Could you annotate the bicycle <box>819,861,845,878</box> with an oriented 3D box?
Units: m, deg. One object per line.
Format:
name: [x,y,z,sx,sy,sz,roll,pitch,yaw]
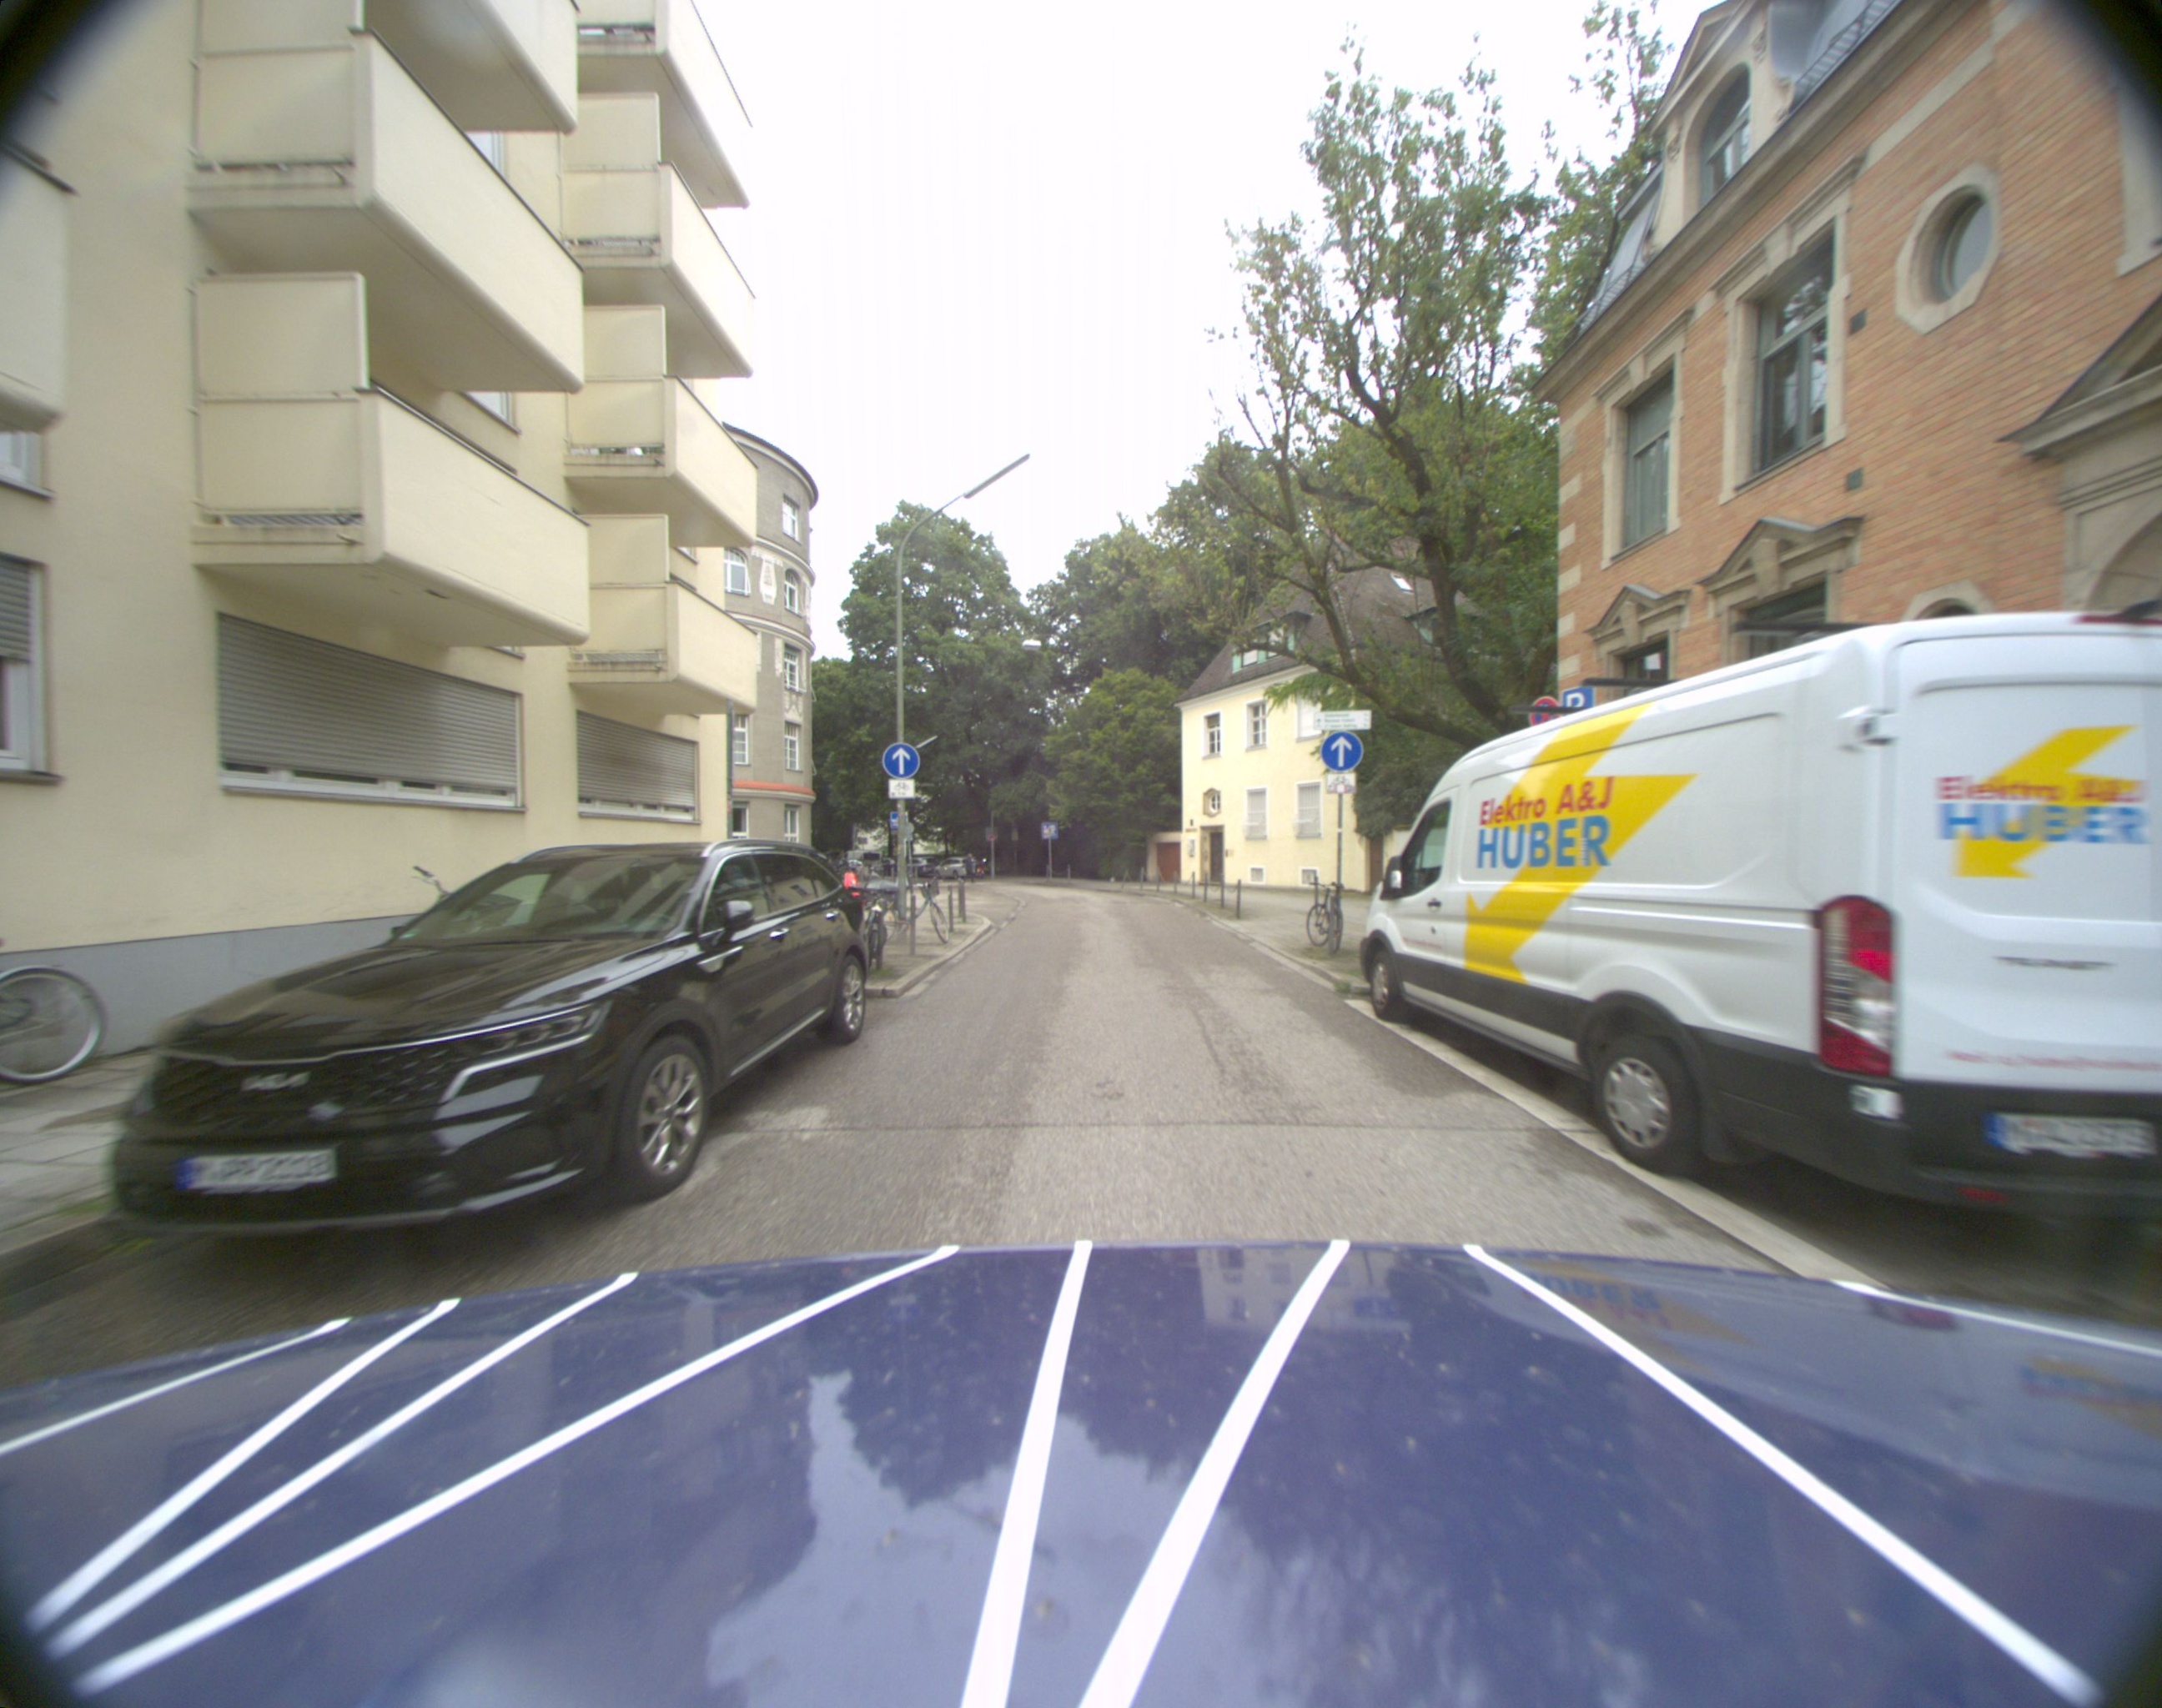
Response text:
bicycle: [-17.181,1.092,52.481,1.685,1.140,0.511,0,2,-18]

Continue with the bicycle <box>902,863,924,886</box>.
bicycle: [-8.088,0.987,36.612,0.511,1.004,2.008,0,1,4]

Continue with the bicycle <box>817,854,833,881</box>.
bicycle: [-13.534,0.695,40.183,0.739,1.405,1.922,-1,1,-21]

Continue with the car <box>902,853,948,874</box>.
car: [-11.608,0.667,56.341,1.628,1.440,4.423,-1,1,-36]

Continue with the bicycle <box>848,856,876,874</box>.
bicycle: [-14.043,0.694,48.690,1.685,1.140,0.511,0,2,-18]

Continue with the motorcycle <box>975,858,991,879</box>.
motorcycle: [-6.049,0.879,46.942,0.859,1.177,2.004,-4,2,-9]

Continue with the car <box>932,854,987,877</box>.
car: [-8.305,0.746,51.722,1.628,1.440,4.423,-1,1,-39]

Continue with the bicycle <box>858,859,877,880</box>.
bicycle: [-12.265,0.894,43.700,0.511,1.140,1.684,0,1,4]

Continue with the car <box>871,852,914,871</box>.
car: [-15.349,0.594,61.660,1.628,1.440,4.423,-1,1,-39]

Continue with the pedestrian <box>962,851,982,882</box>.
pedestrian: [-5.933,0.686,41.513,0.810,1.632,0.728,1,2,40]

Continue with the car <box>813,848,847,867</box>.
car: [-24.534,0.361,74.258,1.781,1.808,4.504,-1,1,-37]

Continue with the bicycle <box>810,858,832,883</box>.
bicycle: [-13.027,0.814,38.099,0.565,1.150,1.925,3,1,-6]

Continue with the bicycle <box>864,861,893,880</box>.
bicycle: [-12.291,1.013,46.114,1.710,1.140,0.511,0,2,-18]

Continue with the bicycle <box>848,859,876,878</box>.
bicycle: [-13.837,0.916,48.059,1.685,1.140,0.511,0,2,-18]

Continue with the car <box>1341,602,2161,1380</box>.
car: [3.681,0.418,5.134,1.997,2.454,5.470,2,1,1]

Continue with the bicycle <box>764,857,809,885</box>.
bicycle: [-13.622,0.769,35.231,0.736,1.249,1.929,1,1,26]

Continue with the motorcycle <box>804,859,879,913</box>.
motorcycle: [-6.468,0.844,20.482,2.078,1.348,0.819,1,2,34]

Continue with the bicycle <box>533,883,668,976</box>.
bicycle: [-6.427,0.972,10.287,0.581,1.048,1.763,0,1,5]

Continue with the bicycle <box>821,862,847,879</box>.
bicycle: [-16.836,1.116,51.755,1.685,1.140,0.511,0,2,-18]

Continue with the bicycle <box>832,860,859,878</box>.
bicycle: [-15.435,0.960,49.729,1.685,1.140,0.511,0,2,-18]

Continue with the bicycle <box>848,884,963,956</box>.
bicycle: [-2.925,1.069,12.630,1.764,1.060,0.774,0,1,-21]

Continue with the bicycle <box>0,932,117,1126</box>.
bicycle: [-6.490,1.046,3.983,0.581,1.048,1.836,0,1,-4]

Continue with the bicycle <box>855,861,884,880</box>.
bicycle: [-12.981,1.003,46.667,1.685,1.140,0.465,0,2,-18]

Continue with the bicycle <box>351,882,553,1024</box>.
bicycle: [-6.350,0.934,7.817,0.689,1.199,1.761,0,1,-5]

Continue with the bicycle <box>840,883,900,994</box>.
bicycle: [-2.623,0.993,9.581,0.581,1.147,1.960,0,1,-12]

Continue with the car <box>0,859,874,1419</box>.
car: [-2.833,0.901,4.612,1.854,1.629,4.549,0,1,0]

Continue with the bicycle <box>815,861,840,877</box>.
bicycle: [-17.786,1.050,53.338,1.685,1.140,0.511,0,2,-18]

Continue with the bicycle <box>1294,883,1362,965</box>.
bicycle: [3.685,1.011,11.466,0.581,1.048,1.763,0,1,5]

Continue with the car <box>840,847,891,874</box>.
car: [-17.296,0.483,60.811,2.050,2.030,4.944,-2,1,-40]
